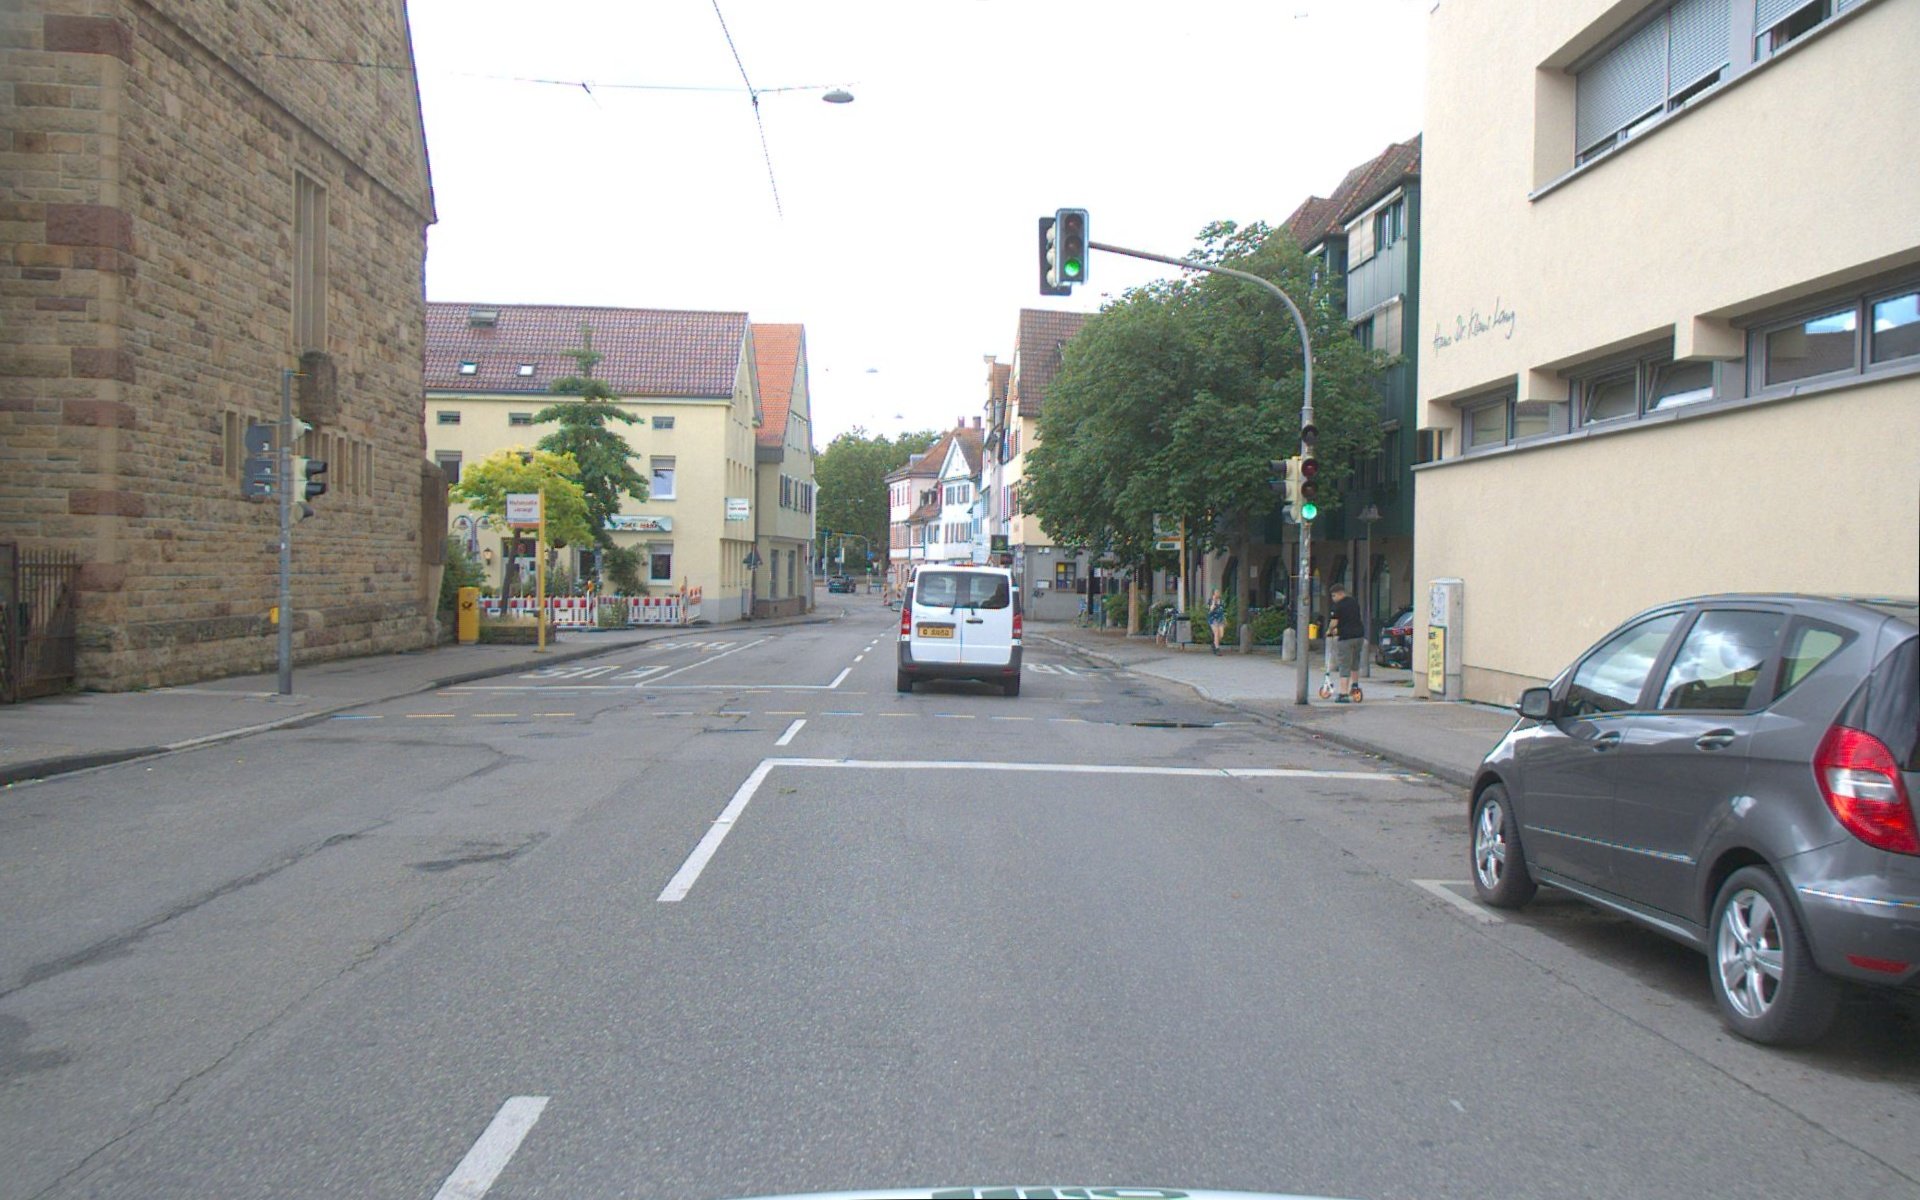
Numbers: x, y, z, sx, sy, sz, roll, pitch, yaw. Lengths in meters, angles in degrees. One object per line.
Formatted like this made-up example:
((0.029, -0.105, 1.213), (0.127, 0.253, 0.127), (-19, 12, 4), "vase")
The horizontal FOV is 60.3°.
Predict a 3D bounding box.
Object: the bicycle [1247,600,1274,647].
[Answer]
((8.641, 0.665, 47.624), (0.326, 1.323, 1.958), (2, 0, -2), "bicycle")

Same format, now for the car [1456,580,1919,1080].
((3.621, 0.740, 7.183), (1.677, 1.587, 3.784), (1, 0, -2), "car")

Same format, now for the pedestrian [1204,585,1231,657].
((6.270, 0.501, 40.358), (0.589, 1.745, 0.860), (1, 0, 6), "pedestrian")

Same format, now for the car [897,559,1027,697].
((0.033, 0.407, 25.673), (1.834, 1.945, 4.000), (1, 0, 0), "car")

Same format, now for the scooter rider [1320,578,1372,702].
((5.291, 0.551, 22.695), (0.445, 1.660, 0.503), (-2, -1, -15), "scooter rider")

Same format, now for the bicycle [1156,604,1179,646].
((6.017, 0.715, 48.113), (0.326, 1.161, 1.958), (2, 0, -2), "bicycle")

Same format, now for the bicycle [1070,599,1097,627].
((5.113, 0.521, 68.449), (0.492, 1.126, 1.628), (0, 0, -21), "bicycle")

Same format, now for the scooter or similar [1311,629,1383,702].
((5.311, 0.889, 22.719), (0.650, 0.962, 0.817), (-2, -1, -12), "scooter or similar")

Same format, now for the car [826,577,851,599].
((-12.079, -1.179, 164.422), (1.901, 2.049, 3.987), (2, 0, -13), "car")

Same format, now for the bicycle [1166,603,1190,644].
((6.346, 0.683, 48.230), (0.326, 1.161, 1.958), (2, 0, -2), "bicycle")

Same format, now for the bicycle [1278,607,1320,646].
((9.771, 0.755, 47.789), (0.534, 1.088, 2.288), (0, 0, -6), "bicycle")

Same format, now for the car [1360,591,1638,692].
((9.581, 0.719, 29.701), (4.415, 1.601, 1.854), (2, 0, 5), "car")
